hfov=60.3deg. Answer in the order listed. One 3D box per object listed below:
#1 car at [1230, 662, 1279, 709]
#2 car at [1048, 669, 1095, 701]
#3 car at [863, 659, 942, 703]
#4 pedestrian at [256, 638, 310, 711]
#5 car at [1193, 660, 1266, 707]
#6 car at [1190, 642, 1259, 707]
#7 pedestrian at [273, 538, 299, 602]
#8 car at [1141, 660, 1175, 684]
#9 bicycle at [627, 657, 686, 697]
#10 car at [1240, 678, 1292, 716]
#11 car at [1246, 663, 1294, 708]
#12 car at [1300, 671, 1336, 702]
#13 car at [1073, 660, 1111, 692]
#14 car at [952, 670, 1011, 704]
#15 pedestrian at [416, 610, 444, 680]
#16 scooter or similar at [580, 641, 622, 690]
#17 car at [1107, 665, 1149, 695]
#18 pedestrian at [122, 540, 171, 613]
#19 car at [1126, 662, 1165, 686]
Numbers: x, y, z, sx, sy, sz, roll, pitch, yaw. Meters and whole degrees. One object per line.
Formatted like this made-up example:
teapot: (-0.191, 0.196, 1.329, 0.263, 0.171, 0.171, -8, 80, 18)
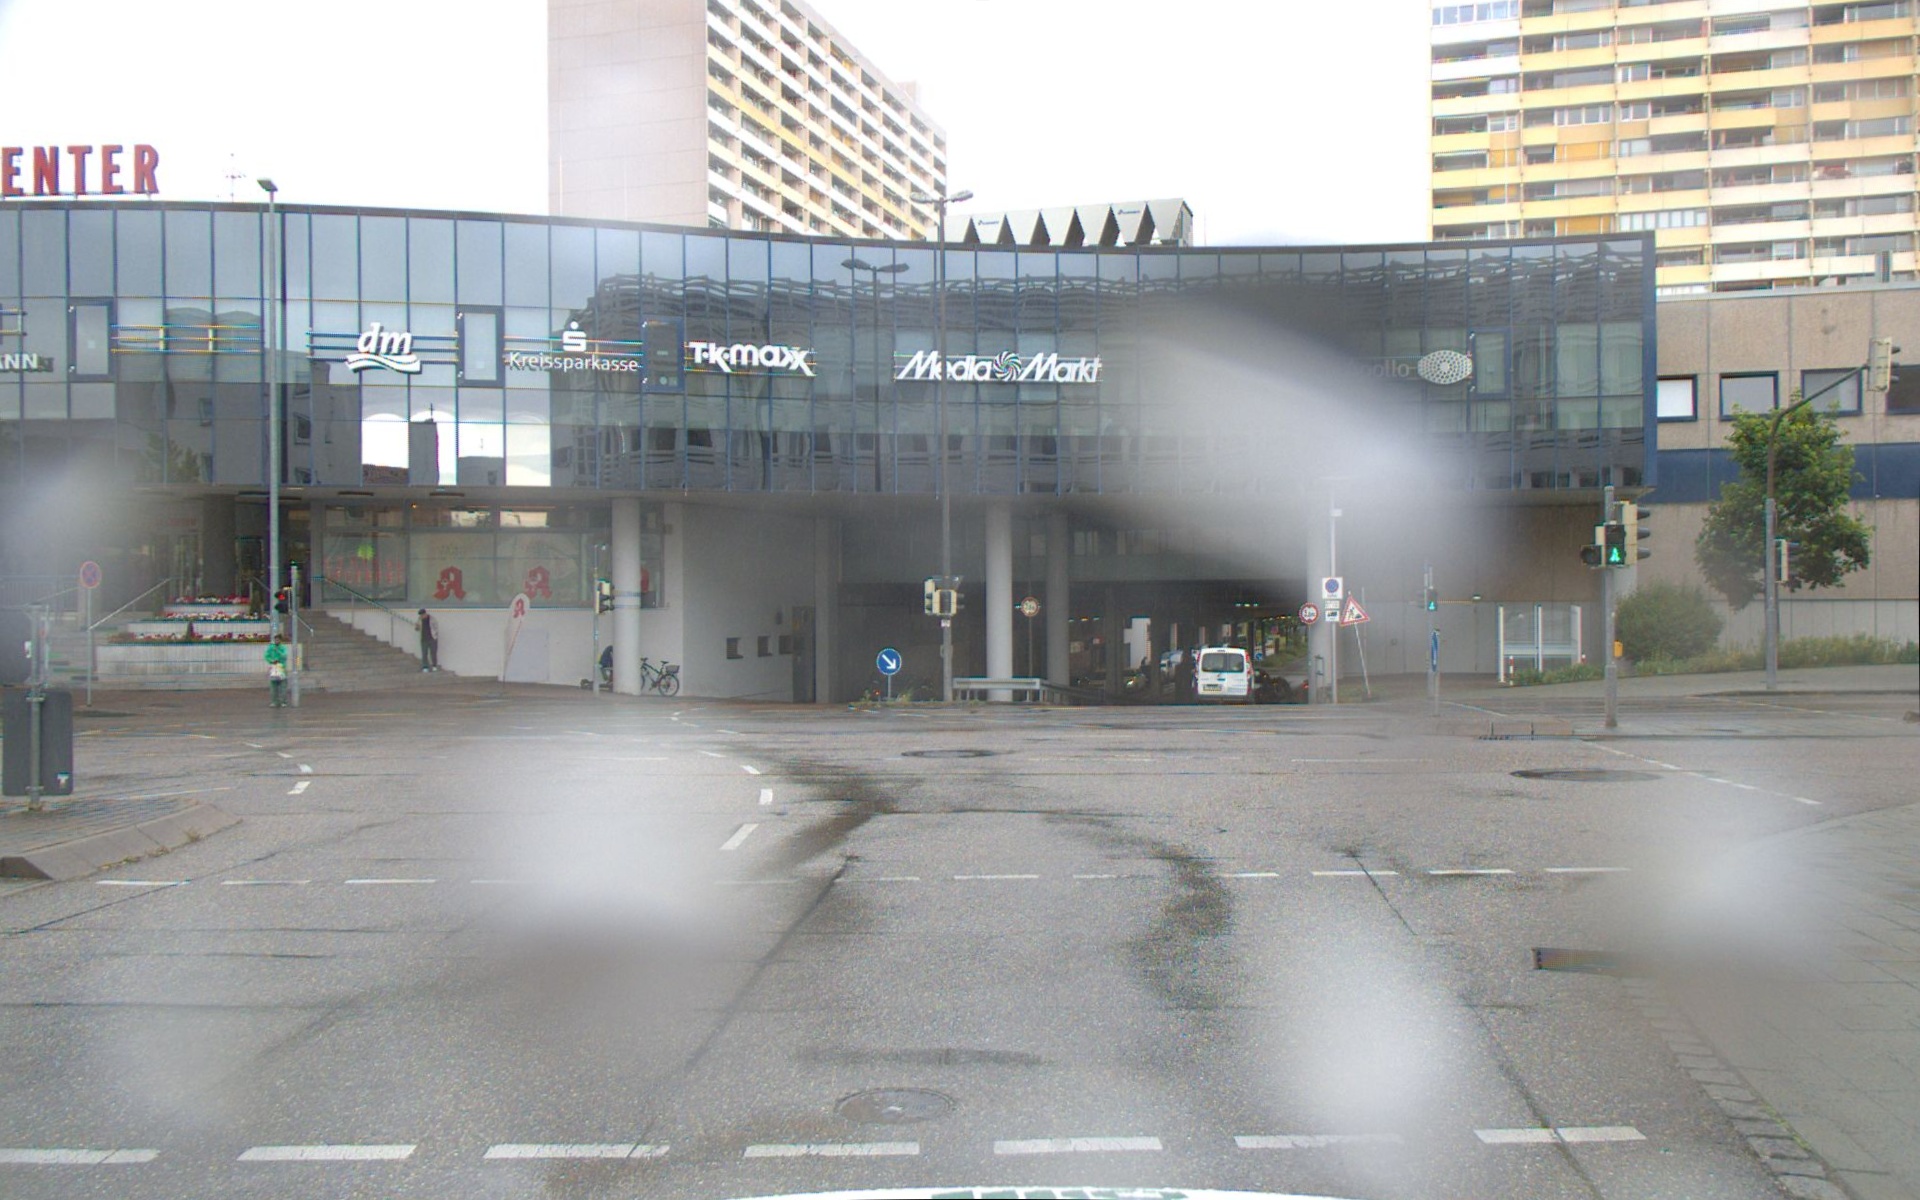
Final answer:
car: (10.889, 3.191, 61.094, 1.598, 1.640, 4.265, -2, -4, 12)
car: (6.193, 4.662, 91.311, 1.874, 1.616, 3.941, -1, -1, 15)
car: (-2.117, 3.077, 62.439, 1.852, 1.496, 4.029, -1, -5, 16)
pedestrian: (-15.667, 1.714, 38.278, 0.930, 1.652, 0.808, -1, -1, -5)
car: (9.210, 2.878, 56.397, 1.721, 1.490, 3.943, -2, -4, 20)
car: (7.825, 2.176, 48.718, 1.884, 1.829, 4.299, -1, -2, 10)
pedestrian: (-19.747, -0.862, 48.460, 0.622, 1.839, 0.501, 1, -1, -18)
car: (13.761, 4.983, 114.728, 1.951, 1.489, 4.003, -1, -1, 12)
bicycle: (-8.901, 2.259, 48.530, 1.566, 1.036, 0.447, 7, -4, -32)
car: (12.264, 3.901, 66.103, 1.741, 1.425, 4.002, -1, -4, 15)
car: (13.343, 3.651, 71.032, 1.753, 1.802, 4.003, -1, -1, 14)
car: (19.744, 4.766, 91.128, 1.847, 1.517, 3.844, 1, -1, 13)
car: (7.688, 4.400, 96.138, 1.797, 1.758, 4.003, -1, -1, 11)
car: (1.000, 3.913, 74.384, 1.733, 1.490, 3.878, -1, -3, 15)
pedestrian: (-14.933, 1.269, 46.582, 0.643, 1.942, 0.593, 1, -1, -9)
scooter or similar: (-10.429, 1.898, 48.021, 1.147, 1.397, 0.487, 1, -1, -16)
car: (10.354, 4.903, 101.959, 1.951, 1.693, 4.003, 1, -1, 15)
pedestrian: (-23.404, -0.675, 47.575, 0.930, 2.049, 0.832, 1, -1, 25)
car: (12.312, 4.908, 109.625, 1.951, 1.489, 4.003, -1, -1, 15)
